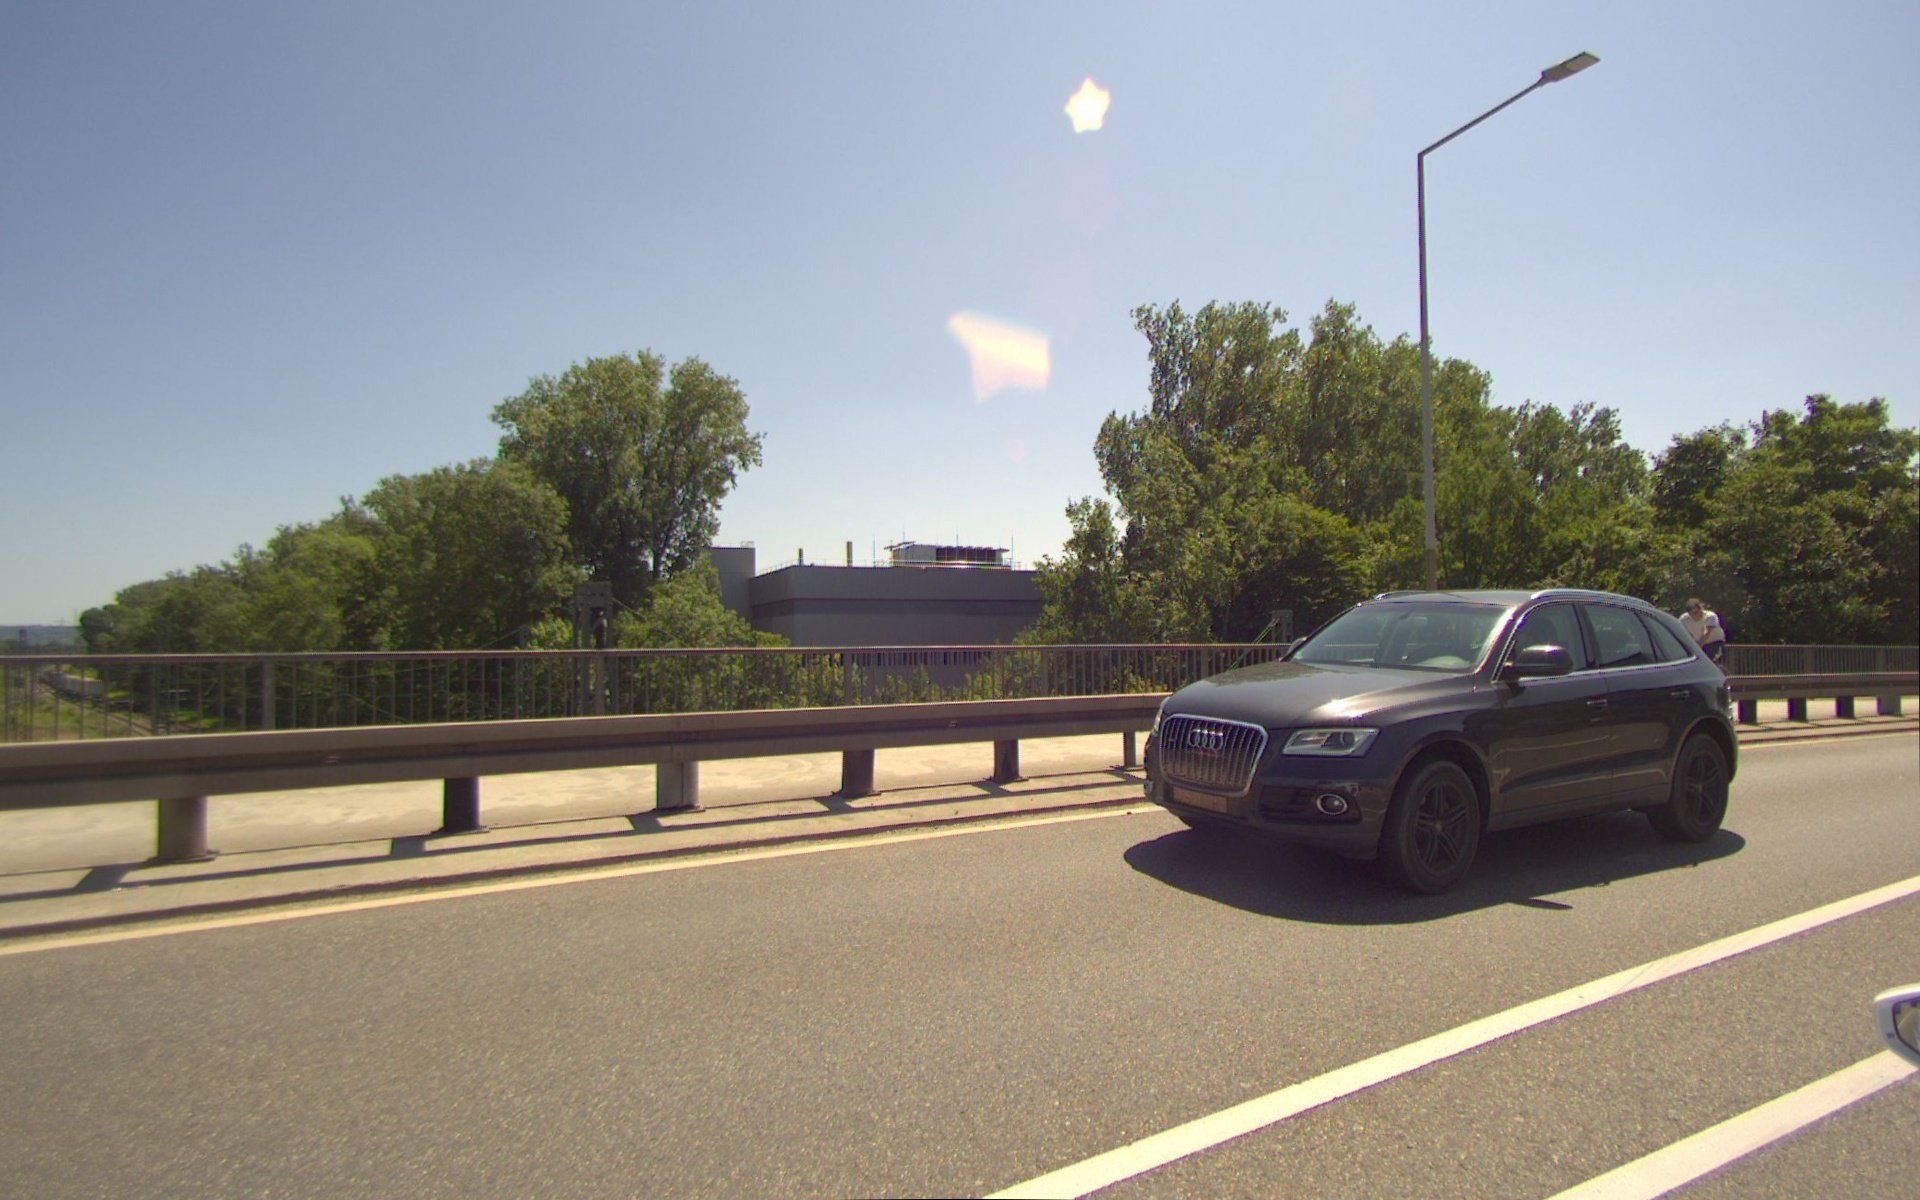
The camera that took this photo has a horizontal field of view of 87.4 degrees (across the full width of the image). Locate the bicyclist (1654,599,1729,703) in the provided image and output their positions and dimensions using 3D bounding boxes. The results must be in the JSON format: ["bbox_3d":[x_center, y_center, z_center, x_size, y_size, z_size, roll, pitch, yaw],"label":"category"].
[{"bbox_3d":[11.234,0.769,15.431,0.884,1.541,0.581,1,-1,-26],"label":"bicyclist"}]

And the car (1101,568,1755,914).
[{"bbox_3d":[3.186,0.721,6.660,4.248,1.662,1.793,1,-1,-29],"label":"car"}]

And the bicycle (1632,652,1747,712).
[{"bbox_3d":[11.193,1.233,15.399,1.965,0.844,0.586,1,-1,-26],"label":"bicycle"}]

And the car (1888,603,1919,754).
[{"bbox_3d":[12.670,0.899,11.384,4.195,1.648,1.701,1,0,-25],"label":"car"}]
